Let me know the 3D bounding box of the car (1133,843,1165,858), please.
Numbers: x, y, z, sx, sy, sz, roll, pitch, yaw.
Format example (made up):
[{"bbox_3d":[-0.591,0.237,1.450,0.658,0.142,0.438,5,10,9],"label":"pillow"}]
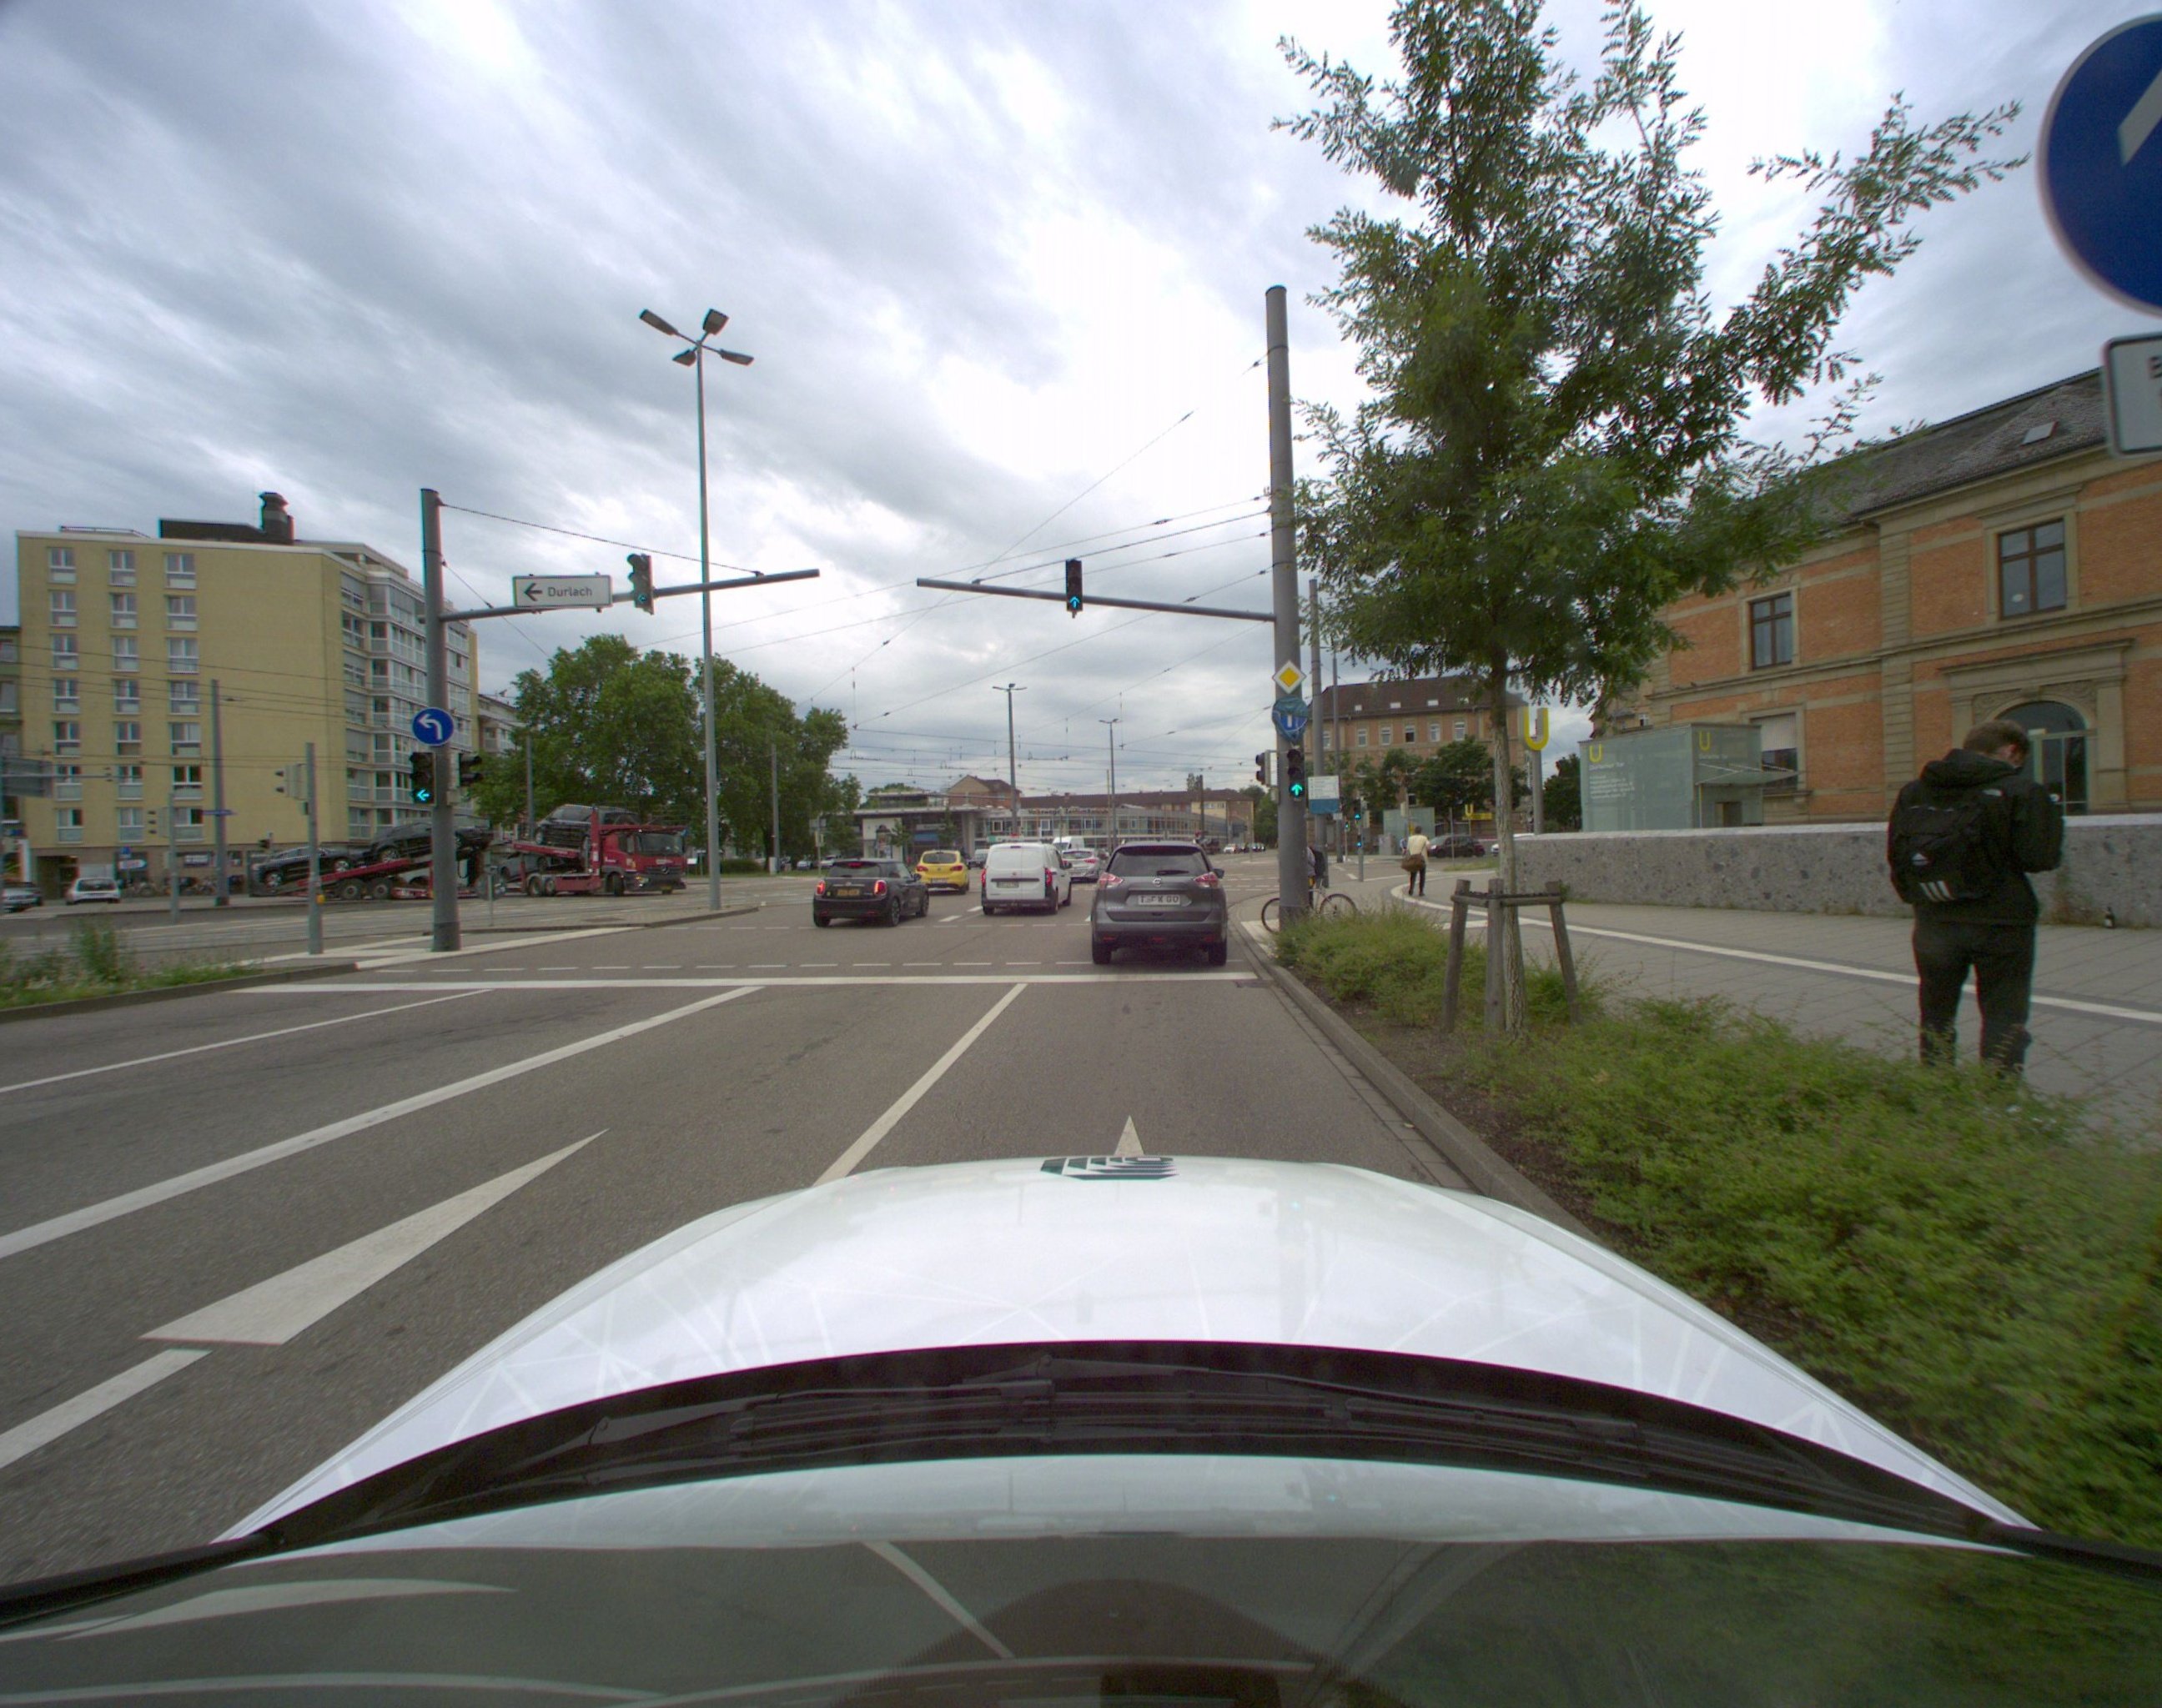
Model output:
[{"bbox_3d":[9.002,-0.479,107.185,2.136,1.856,5.481,-1,0,28],"label":"car"}]

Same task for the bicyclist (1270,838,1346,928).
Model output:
[{"bbox_3d":[4.010,0.497,14.459,1.094,1.520,0.760,-2,0,-1],"label":"bicyclist"}]

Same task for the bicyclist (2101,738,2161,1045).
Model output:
[{"bbox_3d":[6.103,0.192,3.870,0.824,1.621,1.321,-2,0,0],"label":"bicyclist"}]

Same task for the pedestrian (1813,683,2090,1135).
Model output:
[{"bbox_3d":[4.266,0.226,4.006,0.877,1.928,0.717,-2,0,-30],"label":"pedestrian"}]

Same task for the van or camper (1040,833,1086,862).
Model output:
[{"bbox_3d":[-1.689,-0.619,78.140,2.395,2.611,6.081,0,0,19],"label":"van or camper"}]

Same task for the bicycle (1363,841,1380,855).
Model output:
[{"bbox_3d":[29.384,-0.616,82.259,0.948,1.354,3.140,0,0,32],"label":"bicycle"}]

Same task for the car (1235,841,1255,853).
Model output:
[{"bbox_3d":[27.640,-1.202,137.208,1.974,1.838,4.551,-1,0,31],"label":"car"}]

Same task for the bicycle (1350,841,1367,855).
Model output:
[{"bbox_3d":[28.209,-0.609,82.811,0.948,1.354,3.140,0,0,32],"label":"bicycle"}]

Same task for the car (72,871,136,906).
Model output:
[{"bbox_3d":[-53.815,1.835,44.945,3.949,1.755,2.094,0,0,42],"label":"car"}]

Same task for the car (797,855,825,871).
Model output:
[{"bbox_3d":[-35.905,1.168,108.560,1.983,2.013,4.009,0,0,7],"label":"car"}]

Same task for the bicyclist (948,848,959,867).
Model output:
[{"bbox_3d":[-10.844,0.296,69.290,0.561,1.508,0.861,-1,1,23],"label":"bicyclist"}]

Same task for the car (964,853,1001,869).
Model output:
[{"bbox_3d":[-8.353,0.562,69.358,1.673,1.247,3.756,-1,0,19],"label":"car"}]

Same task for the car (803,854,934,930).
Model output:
[{"bbox_3d":[-4.658,0.774,18.467,1.763,1.468,4.002,-2,0,2],"label":"car"}]

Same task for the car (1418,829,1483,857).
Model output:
[{"bbox_3d":[26.472,-0.771,58.317,4.390,1.900,1.682,-1,0,-22],"label":"car"}]

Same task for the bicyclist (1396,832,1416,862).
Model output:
[{"bbox_3d":[17.508,-0.382,43.823,0.684,1.560,0.932,-3,0,38],"label":"bicyclist"}]

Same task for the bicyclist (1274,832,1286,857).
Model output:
[{"bbox_3d":[13.848,-0.648,56.717,0.684,1.708,0.800,-2,0,7],"label":"bicyclist"}]

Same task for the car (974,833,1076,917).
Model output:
[{"bbox_3d":[-1.333,0.472,21.139,1.903,1.940,4.138,-1,0,6],"label":"car"}]

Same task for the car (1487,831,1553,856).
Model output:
[{"bbox_3d":[35.589,-0.835,65.993,5.103,1.916,1.856,-2,0,-22],"label":"car"}]

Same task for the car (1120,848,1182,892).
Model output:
[{"bbox_3d":[2.564,0.514,28.994,1.983,1.420,4.009,-2,0,7],"label":"car"}]

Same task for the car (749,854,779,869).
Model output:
[{"bbox_3d":[-42.379,1.006,108.969,1.983,2.013,4.009,0,0,7],"label":"car"}]

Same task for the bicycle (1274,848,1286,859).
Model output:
[{"bbox_3d":[13.867,-0.039,56.752,0.615,0.793,1.595,-2,0,7],"label":"bicycle"}]

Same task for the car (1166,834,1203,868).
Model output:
[{"bbox_3d":[6.340,-0.173,50.075,1.985,2.013,4.003,0,0,3],"label":"car"}]

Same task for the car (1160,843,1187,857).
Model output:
[{"bbox_3d":[12.999,-0.634,113.842,1.974,1.838,4.551,-1,0,31],"label":"car"}]

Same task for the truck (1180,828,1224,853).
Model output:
[{"bbox_3d":[18.218,-1.937,121.699,2.767,3.549,9.283,0,0,34],"label":"truck"}]

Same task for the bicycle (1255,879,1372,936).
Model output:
[{"bbox_3d":[4.097,0.939,14.450,1.815,0.840,0.767,-4,0,-1],"label":"bicycle"}]

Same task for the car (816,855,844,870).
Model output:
[{"bbox_3d":[-33.401,1.102,108.380,1.983,2.013,4.009,0,0,7],"label":"car"}]

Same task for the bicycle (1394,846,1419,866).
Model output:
[{"bbox_3d":[17.507,0.103,43.817,0.664,0.933,1.871,-5,-1,39],"label":"bicycle"}]

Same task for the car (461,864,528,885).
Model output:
[{"bbox_3d":[-48.579,1.680,67.553,3.997,1.552,1.988,-2,0,-18],"label":"car"}]

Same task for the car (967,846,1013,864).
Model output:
[{"bbox_3d":[-10.463,0.130,93.336,4.727,2.013,2.131,0,0,19],"label":"car"}]

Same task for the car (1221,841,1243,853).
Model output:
[{"bbox_3d":[24.223,-1.151,130.914,1.974,1.838,4.551,-1,0,31],"label":"car"}]

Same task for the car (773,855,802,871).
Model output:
[{"bbox_3d":[-39.029,1.174,108.530,1.983,2.013,4.009,0,0,7],"label":"car"}]

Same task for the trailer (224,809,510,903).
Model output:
[{"bbox_3d":[-31.624,0.058,36.487,9.512,3.973,2.990,0,0,-7],"label":"trailer"}]

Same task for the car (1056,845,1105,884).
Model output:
[{"bbox_3d":[0.037,0.402,34.209,1.846,1.508,4.002,0,0,2],"label":"car"}]

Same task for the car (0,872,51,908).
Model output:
[{"bbox_3d":[-56.146,1.870,42.891,3.949,1.755,2.094,0,0,42],"label":"car"}]

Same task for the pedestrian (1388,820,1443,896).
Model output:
[{"bbox_3d":[8.565,0.088,20.837,0.876,1.867,1.294,-2,0,41],"label":"pedestrian"}]

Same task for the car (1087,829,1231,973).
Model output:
[{"bbox_3d":[1.117,0.598,12.165,1.741,1.756,3.928,-2,0,4],"label":"car"}]

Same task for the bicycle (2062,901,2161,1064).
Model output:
[{"bbox_3d":[6.155,0.718,3.841,0.554,0.848,2.073,-2,0,0],"label":"bicycle"}]

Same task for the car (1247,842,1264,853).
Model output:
[{"bbox_3d":[30.841,-1.145,143.844,1.975,1.838,4.550,-1,0,26],"label":"car"}]

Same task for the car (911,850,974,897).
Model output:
[{"bbox_3d":[-4.761,0.618,28.444,1.814,1.494,3.993,0,0,-5],"label":"car"}]

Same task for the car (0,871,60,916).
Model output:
[{"bbox_3d":[-44.878,1.616,32.962,3.995,1.728,1.989,0,0,-16],"label":"car"}]

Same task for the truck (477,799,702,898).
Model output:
[{"bbox_3d":[-21.583,-0.206,35.624,10.328,3.920,3.032,0,0,24],"label":"truck"}]

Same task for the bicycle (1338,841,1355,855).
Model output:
[{"bbox_3d":[27.173,-0.602,83.317,0.948,1.354,3.140,0,0,32],"label":"bicycle"}]

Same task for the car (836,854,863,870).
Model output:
[{"bbox_3d":[-30.616,1.082,107.843,1.983,2.013,4.009,0,0,7],"label":"car"}]

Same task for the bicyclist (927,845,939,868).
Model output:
[{"bbox_3d":[-12.083,0.183,66.484,0.622,1.803,0.802,-1,0,23],"label":"bicyclist"}]
